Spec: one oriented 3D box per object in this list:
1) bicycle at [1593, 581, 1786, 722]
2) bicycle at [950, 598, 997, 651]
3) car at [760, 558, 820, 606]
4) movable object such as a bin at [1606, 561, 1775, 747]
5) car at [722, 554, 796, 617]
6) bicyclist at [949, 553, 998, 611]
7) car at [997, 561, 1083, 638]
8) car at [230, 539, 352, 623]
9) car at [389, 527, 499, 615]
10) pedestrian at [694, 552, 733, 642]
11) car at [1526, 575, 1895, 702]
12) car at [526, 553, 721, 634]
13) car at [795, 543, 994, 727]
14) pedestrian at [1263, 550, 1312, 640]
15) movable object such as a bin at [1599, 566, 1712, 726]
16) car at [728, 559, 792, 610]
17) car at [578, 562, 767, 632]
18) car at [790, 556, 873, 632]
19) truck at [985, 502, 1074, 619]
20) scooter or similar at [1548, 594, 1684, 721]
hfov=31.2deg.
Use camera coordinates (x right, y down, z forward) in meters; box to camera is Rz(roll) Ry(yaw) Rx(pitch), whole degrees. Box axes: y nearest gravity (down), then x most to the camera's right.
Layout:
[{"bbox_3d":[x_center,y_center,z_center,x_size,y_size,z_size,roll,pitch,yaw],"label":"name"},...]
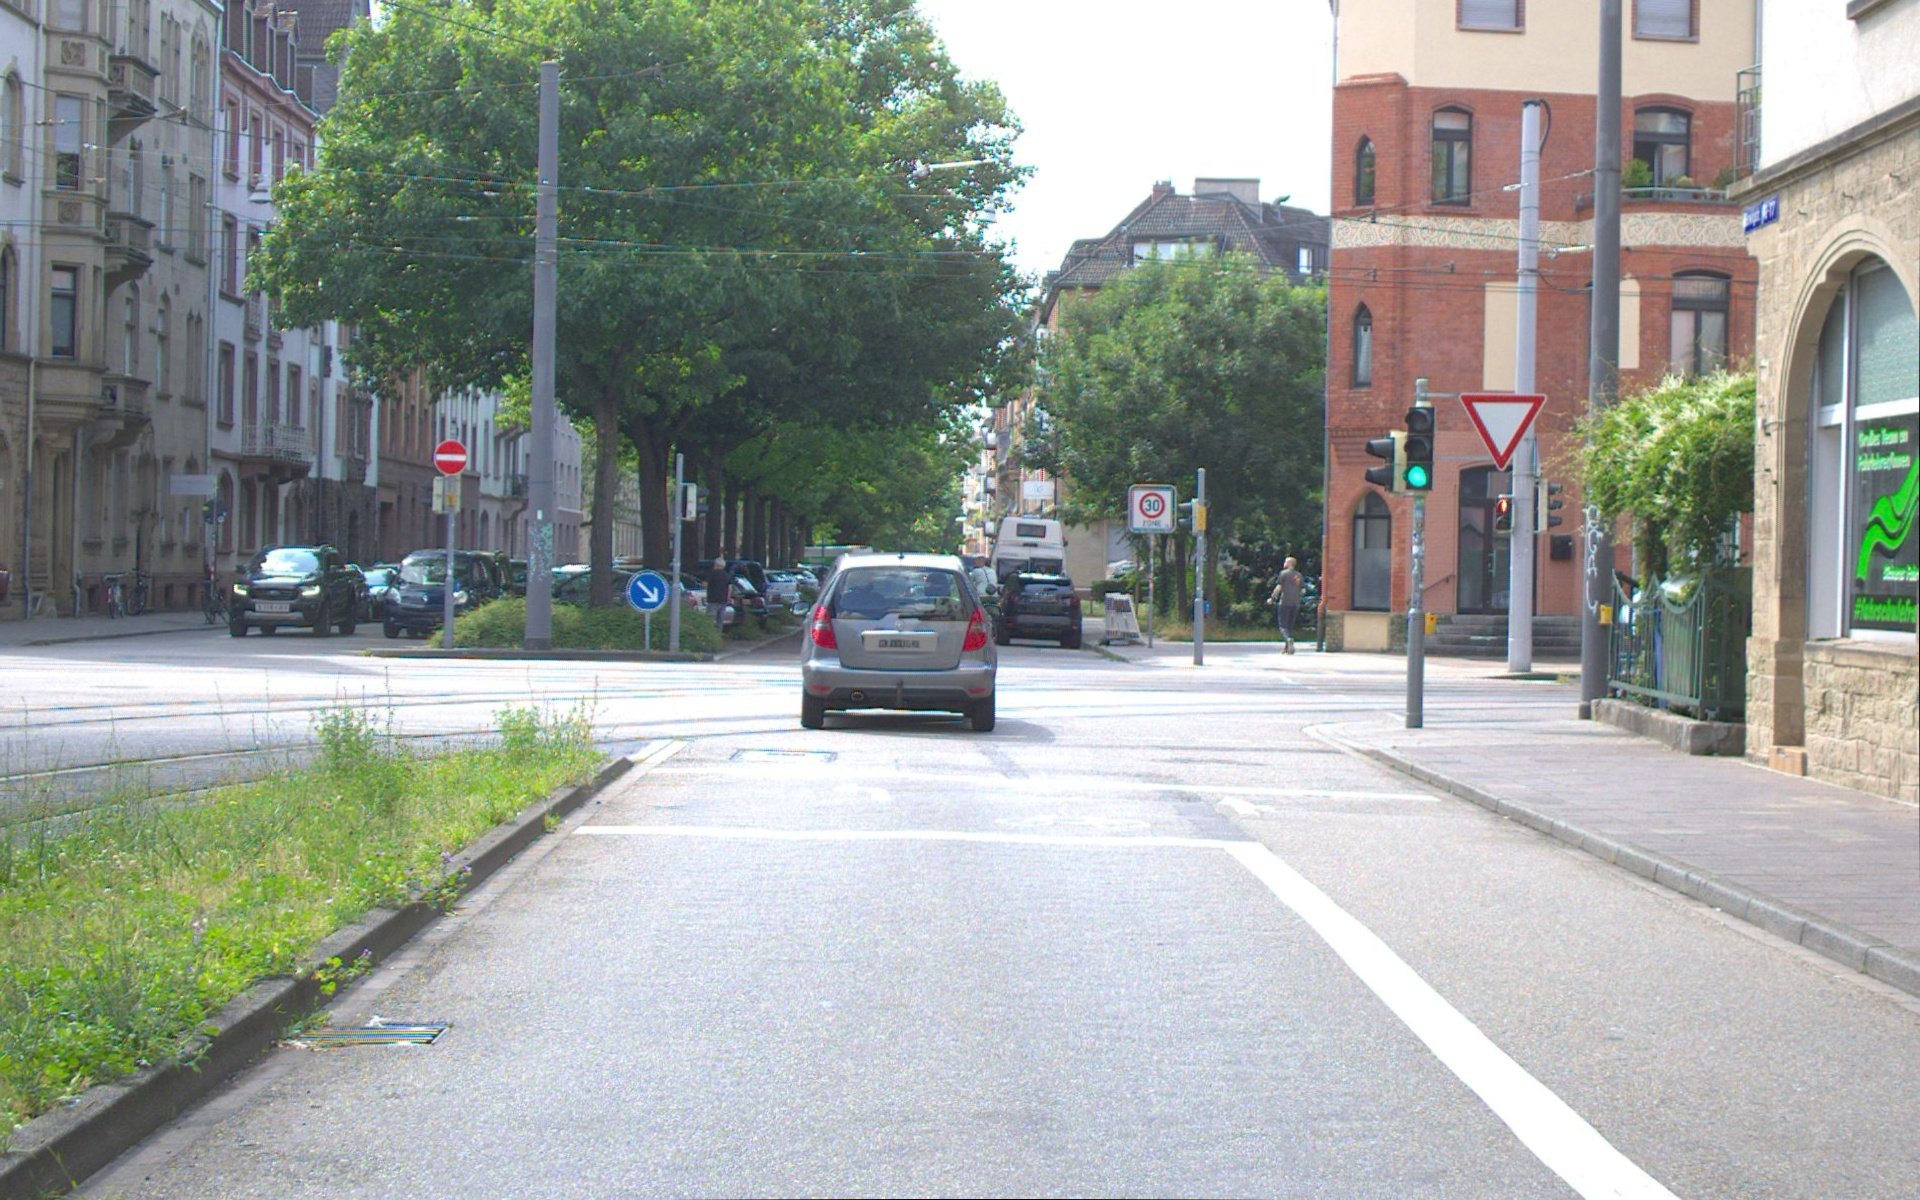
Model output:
[{"bbox_3d":[6.992,0.495,32.950,1.827,1.324,0.277,1,0,-10],"label":"bicycle"},{"bbox_3d":[0.263,0.458,65.521,0.749,0.955,2.298,1,1,3],"label":"bicycle"},{"bbox_3d":[-5.627,-0.609,113.971,1.752,1.512,3.499,1,1,0],"label":"car"},{"bbox_3d":[6.266,0.439,29.607,1.050,1.534,2.100,1,0,2],"label":"movable object such as a bin"},{"bbox_3d":[-5.415,-0.414,92.942,1.752,1.627,3.499,1,1,0],"label":"car"},{"bbox_3d":[0.258,-0.351,65.429,0.836,1.078,1.400,1,0,4],"label":"bicyclist"},{"bbox_3d":[1.806,-0.028,76.689,1.752,1.627,3.499,2,1,3],"label":"car"},{"bbox_3d":[-13.318,-0.392,68.598,1.993,1.612,4.001,1,1,-5],"label":"car"},{"bbox_3d":[-10.499,-0.602,70.191,1.993,1.722,4.001,1,1,-5],"label":"car"},{"bbox_3d":[-4.772,-0.068,66.568,0.652,1.719,0.494,2,0,4],"label":"pedestrian"},{"bbox_3d":[9.099,0.468,41.666,3.986,1.437,1.987,1,1,-27],"label":"car"},{"bbox_3d":[-6.758,-0.135,68.838,1.969,1.489,3.999,1,1,-39],"label":"car"},{"bbox_3d":[-0.557,0.288,31.979,1.722,1.600,3.677,1,1,1],"label":"car"},{"bbox_3d":[6.125,-0.095,64.365,0.869,1.651,0.736,1,1,4],"label":"pedestrian"},{"bbox_3d":[6.495,0.416,32.141,0.714,1.467,0.983,1,0,-9],"label":"movable object such as a bin"},{"bbox_3d":[-6.207,-0.505,106.930,1.752,1.512,3.499,1,1,0],"label":"car"},{"bbox_3d":[-6.001,-0.076,71.453,1.969,1.334,3.999,1,1,-39],"label":"car"},{"bbox_3d":[-2.939,-0.153,79.289,1.722,1.700,3.677,1,1,1],"label":"car"},{"bbox_3d":[1.847,-1.028,89.624,2.123,2.960,4.000,1,0,3],"label":"truck"},{"bbox_3d":[6.350,0.552,33.303,1.193,1.212,0.463,1,0,-7],"label":"scooter or similar"}]
